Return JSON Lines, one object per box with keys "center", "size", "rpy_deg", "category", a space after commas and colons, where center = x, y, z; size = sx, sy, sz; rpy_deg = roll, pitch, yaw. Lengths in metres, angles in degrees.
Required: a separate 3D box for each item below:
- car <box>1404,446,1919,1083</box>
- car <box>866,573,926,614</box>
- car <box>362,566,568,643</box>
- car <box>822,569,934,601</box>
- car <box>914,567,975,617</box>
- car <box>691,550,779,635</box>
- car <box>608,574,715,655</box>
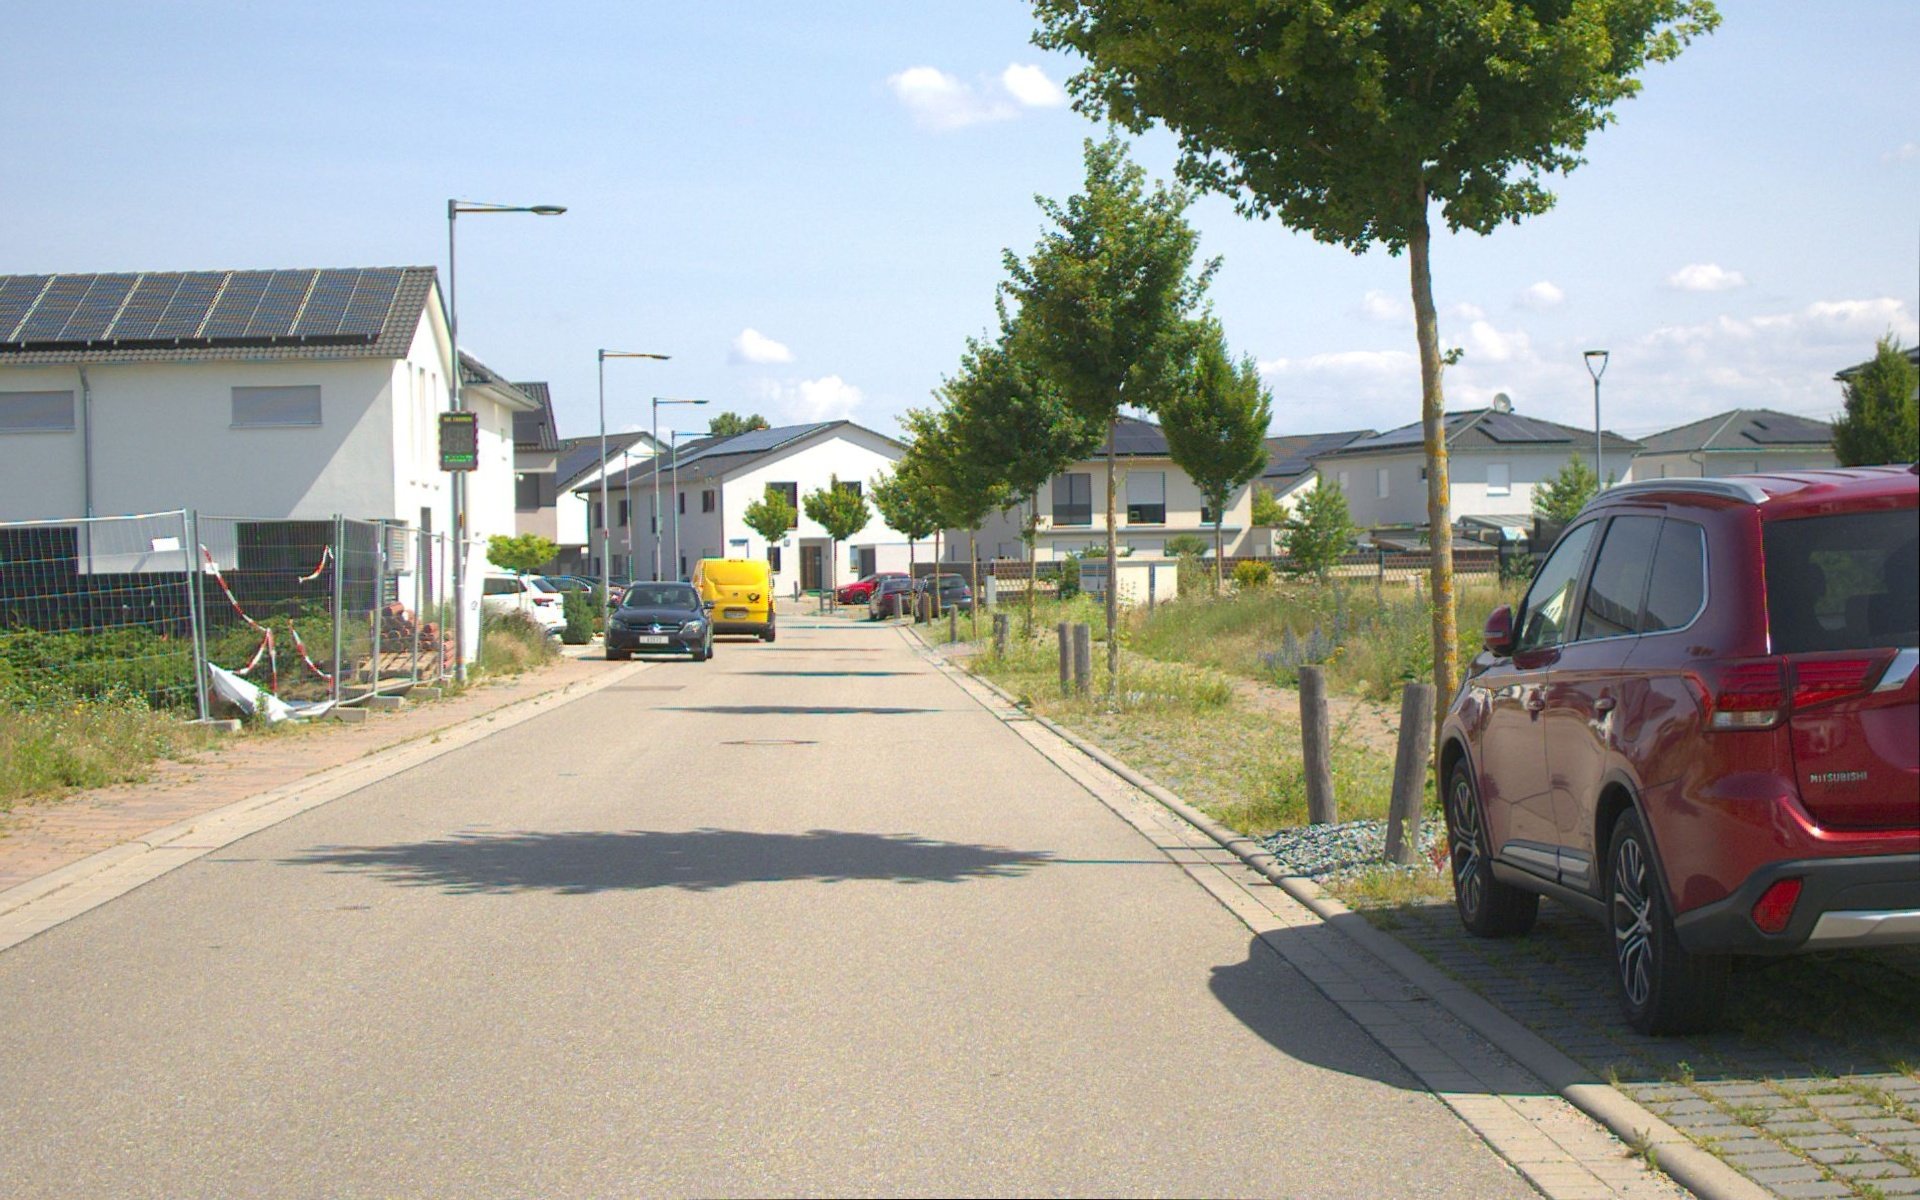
{"center": [2.760, 0.371, 11.303], "size": [1.776, 1.657, 4.434], "rpy_deg": [-2, 1, -3], "category": "car"}
{"center": [-2.293, -0.231, 122.076], "size": [1.627, 1.318, 3.834], "rpy_deg": [-1, -2, -8], "category": "car"}
{"center": [-10.561, 0.076, 73.523], "size": [4.069, 1.576, 1.784], "rpy_deg": [0, 1, 4], "category": "car"}
{"center": [-3.706, -0.679, 156.070], "size": [4.685, 1.427, 2.000], "rpy_deg": [0, 0, -30], "category": "car"}
{"center": [-0.476, -0.237, 103.500], "size": [1.639, 1.398, 3.811], "rpy_deg": [-1, -1, -3], "category": "car"}
{"center": [-5.473, -0.170, 83.295], "size": [1.941, 1.975, 4.217], "rpy_deg": [-1, 0, -6], "category": "car"}
{"center": [-5.455, 0.242, 63.197], "size": [1.745, 1.400, 4.160], "rpy_deg": [1, 0, -2], "category": "car"}
